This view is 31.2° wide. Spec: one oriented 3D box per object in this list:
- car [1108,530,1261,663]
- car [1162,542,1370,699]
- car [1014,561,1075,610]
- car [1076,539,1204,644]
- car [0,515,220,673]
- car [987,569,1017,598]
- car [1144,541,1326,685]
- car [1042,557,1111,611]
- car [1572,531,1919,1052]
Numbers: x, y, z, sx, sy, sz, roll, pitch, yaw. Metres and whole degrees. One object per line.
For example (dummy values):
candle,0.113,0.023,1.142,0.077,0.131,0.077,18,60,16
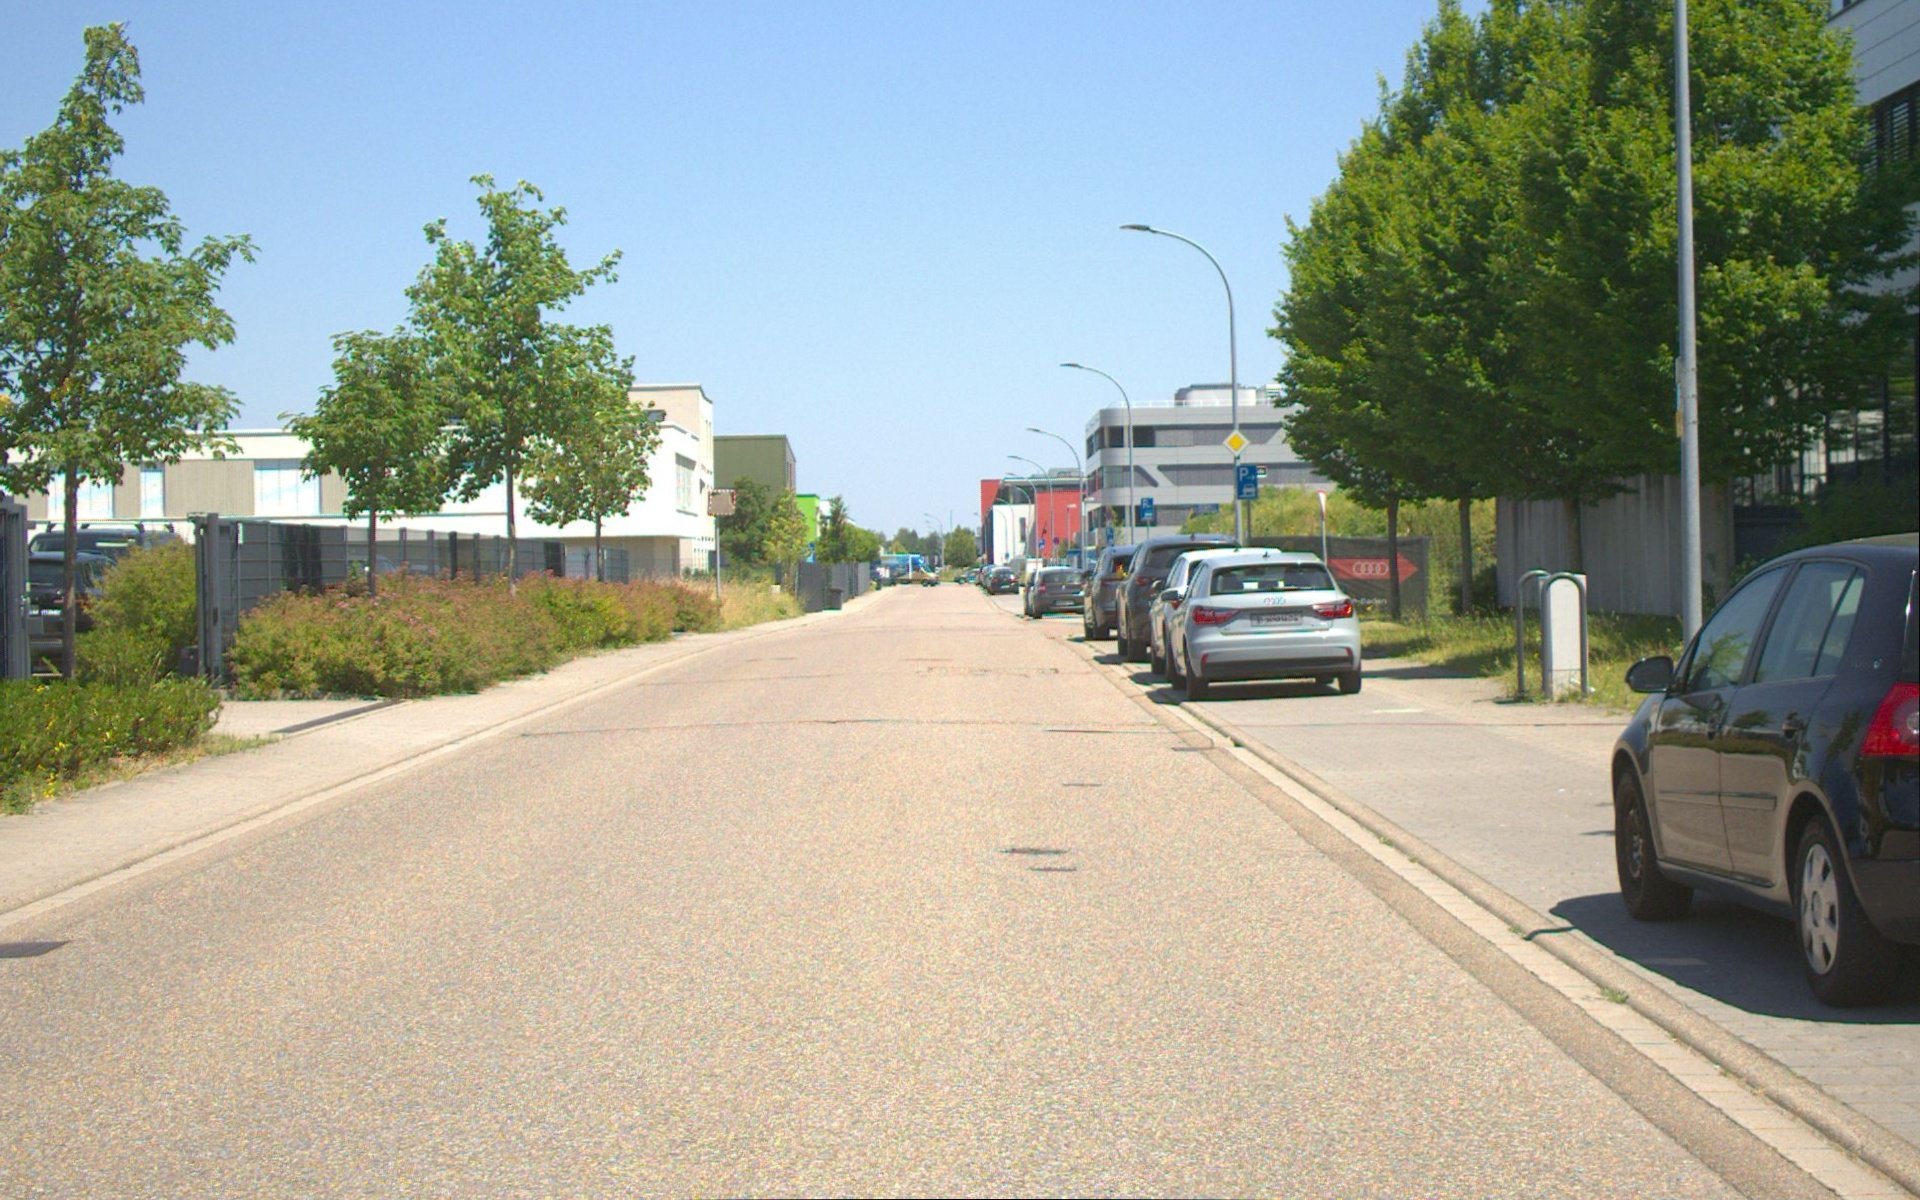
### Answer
car,3.015,-0.079,46.928,1.757,1.657,4.363,-2,1,0
car,3.054,0.169,35.006,1.716,1.418,3.951,-3,1,0
car,2.840,-0.494,114.689,1.908,1.541,4.000,-3,0,3
car,3.083,-0.174,59.757,1.803,1.656,4.608,-3,1,-1
car,-12.033,-0.109,48.565,2.001,2.091,4.693,1,1,1
car,2.557,-1.014,210.355,1.776,1.722,4.000,1,1,0
car,3.113,0.113,39.590,1.716,1.476,4.031,-3,1,0
car,3.385,-0.475,99.430,1.908,1.443,4.000,-3,0,3
car,3.436,0.505,12.073,1.691,1.471,4.269,-2,1,-1
